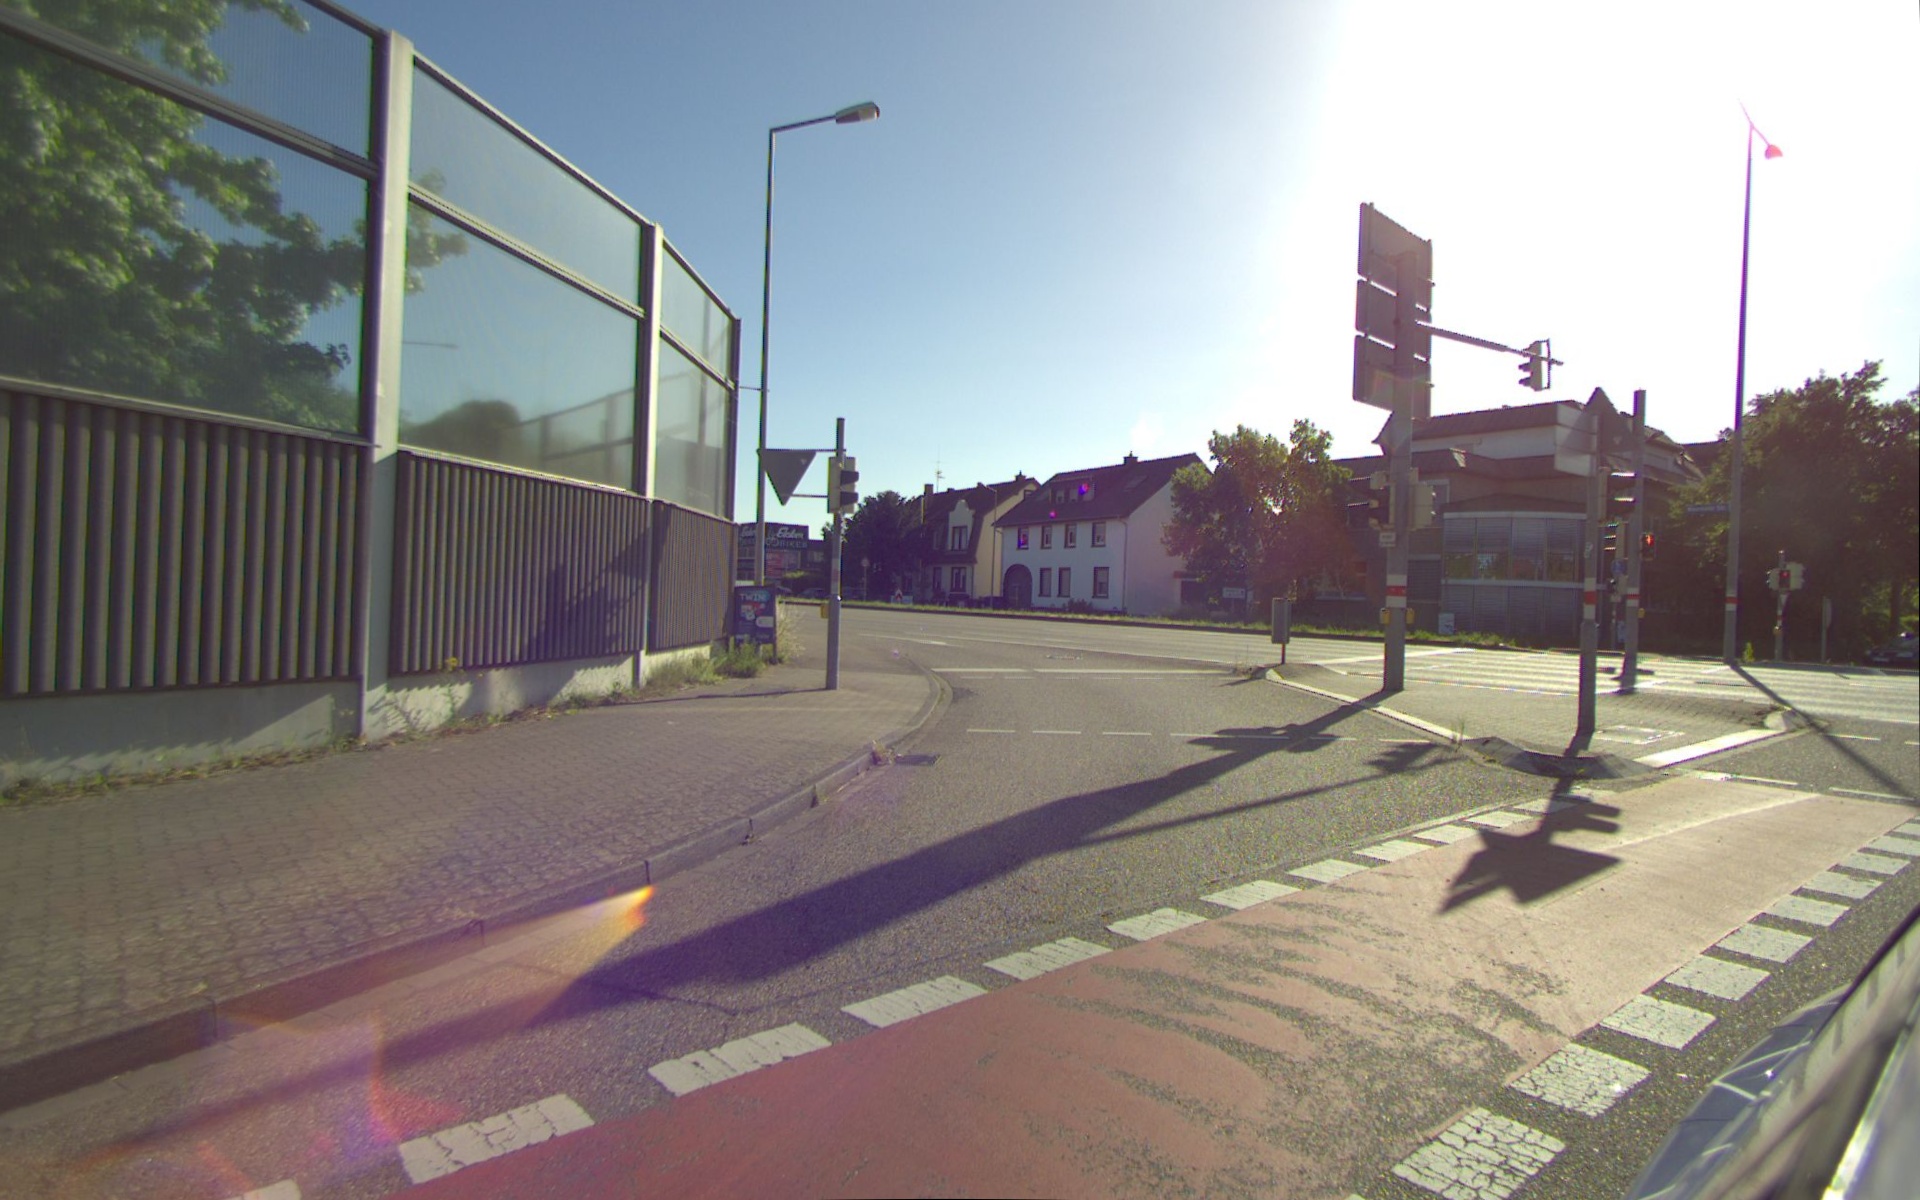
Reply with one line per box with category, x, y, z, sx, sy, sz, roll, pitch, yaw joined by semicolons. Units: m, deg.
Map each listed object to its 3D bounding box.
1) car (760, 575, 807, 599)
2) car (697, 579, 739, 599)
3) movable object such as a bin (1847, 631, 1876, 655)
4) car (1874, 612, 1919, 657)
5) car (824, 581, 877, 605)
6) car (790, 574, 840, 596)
car;-14.525;-1.031;83.301;1.965;1.841;3.993;3;-2;-41
car;-21.570;-0.950;90.257;1.965;1.612;3.993;3;-2;-41
movable object such as a bin;52.494;2.495;58.941;0.781;1.338;1.090;2;-1;-36
car;34.107;1.237;35.623;3.703;1.505;1.780;2;-1;-29
car;-8.201;-0.561;75.529;1.965;1.638;3.994;2;0;-41
car;-11.444;-1.152;79.664;1.965;1.616;3.993;3;-2;-41
